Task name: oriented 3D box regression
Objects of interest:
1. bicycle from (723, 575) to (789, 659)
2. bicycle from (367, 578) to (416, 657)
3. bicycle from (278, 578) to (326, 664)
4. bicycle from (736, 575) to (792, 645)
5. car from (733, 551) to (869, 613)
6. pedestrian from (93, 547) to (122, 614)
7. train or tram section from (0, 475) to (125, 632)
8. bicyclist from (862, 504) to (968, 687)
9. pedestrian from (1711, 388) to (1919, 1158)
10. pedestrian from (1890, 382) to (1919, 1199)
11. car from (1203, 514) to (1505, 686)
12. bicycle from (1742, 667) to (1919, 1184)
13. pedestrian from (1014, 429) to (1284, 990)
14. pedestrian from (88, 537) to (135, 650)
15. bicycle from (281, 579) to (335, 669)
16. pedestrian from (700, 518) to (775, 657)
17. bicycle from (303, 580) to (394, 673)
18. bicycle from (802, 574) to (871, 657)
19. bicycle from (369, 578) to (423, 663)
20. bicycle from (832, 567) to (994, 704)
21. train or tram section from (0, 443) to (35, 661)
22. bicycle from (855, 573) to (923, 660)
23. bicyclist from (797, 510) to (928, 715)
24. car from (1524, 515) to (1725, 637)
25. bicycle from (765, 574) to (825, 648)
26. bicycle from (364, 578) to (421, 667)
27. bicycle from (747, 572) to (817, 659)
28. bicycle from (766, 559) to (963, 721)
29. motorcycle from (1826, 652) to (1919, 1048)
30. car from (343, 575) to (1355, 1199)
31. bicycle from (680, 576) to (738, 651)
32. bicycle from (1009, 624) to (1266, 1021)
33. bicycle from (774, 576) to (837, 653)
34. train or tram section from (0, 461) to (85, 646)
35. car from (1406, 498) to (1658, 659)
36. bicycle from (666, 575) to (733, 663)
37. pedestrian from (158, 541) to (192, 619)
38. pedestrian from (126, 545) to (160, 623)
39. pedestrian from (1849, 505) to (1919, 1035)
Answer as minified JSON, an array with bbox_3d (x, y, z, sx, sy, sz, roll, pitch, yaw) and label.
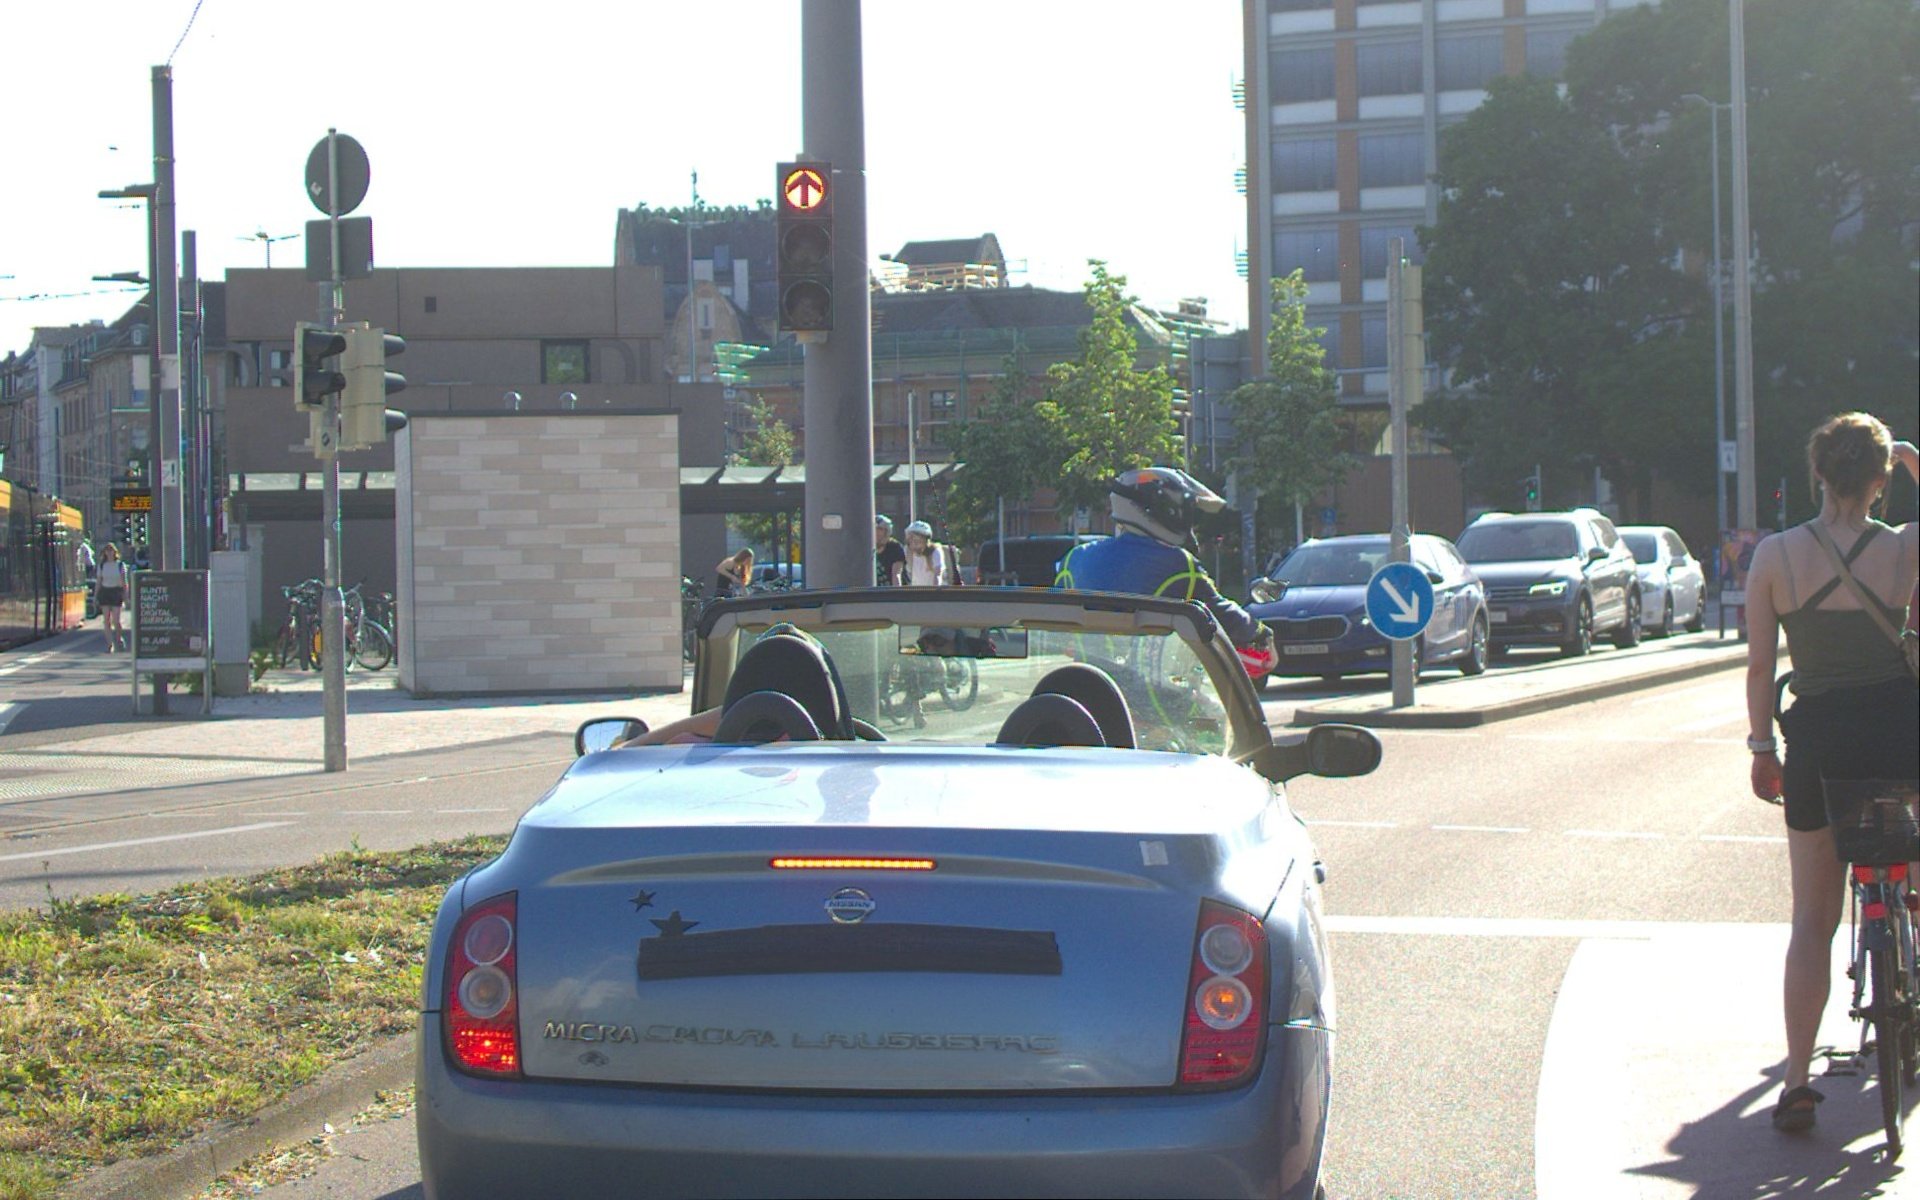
[{"bbox_3d":[-2.807,0.224,47.195,0.606,1.111,1.897,1,1,-12],"label":"bicycle"},{"bbox_3d":[-8.330,0.244,50.338,0.606,1.111,1.897,1,1,-12],"label":"bicycle"},{"bbox_3d":[-8.799,0.275,45.994,0.606,1.111,1.897,1,1,-11],"label":"bicycle"},{"bbox_3d":[-3.246,0.157,56.748,0.606,1.111,1.897,1,1,-12],"label":"bicycle"},{"bbox_3d":[-4.121,-0.457,88.687,1.640,1.555,3.599,-2,1,-39],"label":"car"},{"bbox_3d":[-22.295,-0.515,89.925,0.604,1.743,0.832,-1,1,-8],"label":"pedestrian"},{"bbox_3d":[-22.576,-1.141,84.595,3.039,3.584,12.055,1,1,-9],"label":"train or tram section"},{"bbox_3d":[-0.409,-0.047,31.486,0.709,1.651,0.742,-1,1,22],"label":"bicyclist"},{"bbox_3d":[2.286,0.414,8.783,0.659,1.862,0.872,1,0,15],"label":"pedestrian"},{"bbox_3d":[2.488,0.455,7.396,0.806,1.862,0.956,1,0,8],"label":"pedestrian"},{"bbox_3d":[3.914,-0.014,33.632,1.739,1.568,3.919,1,1,25],"label":"car"},{"bbox_3d":[2.367,0.778,8.975,0.564,1.147,1.948,1,1,14],"label":"bicycle"},{"bbox_3d":[0.673,0.360,11.963,0.833,1.862,0.920,1,0,8],"label":"pedestrian"},{"bbox_3d":[-13.294,-0.110,53.865,0.637,1.743,0.572,-1,1,-19],"label":"pedestrian"},{"bbox_3d":[-8.365,0.299,44.069,0.606,1.111,1.897,1,1,-12],"label":"bicycle"},{"bbox_3d":[-3.036,-0.176,46.775,0.900,1.862,0.687,1,0,-12],"label":"pedestrian"},{"bbox_3d":[-7.545,0.317,42.464,0.607,1.111,1.896,1,1,5],"label":"bicycle"},{"bbox_3d":[-1.721,0.203,47.582,0.606,1.111,1.897,1,1,-12],"label":"bicycle"},{"bbox_3d":[-7.629,0.266,46.463,0.606,1.111,1.897,1,1,-12],"label":"bicycle"},{"bbox_3d":[-0.408,0.309,31.464,0.675,1.176,2.181,-1,1,22],"label":"bicycle"},{"bbox_3d":[-18.166,-0.853,60.679,2.880,3.584,12.203,1,1,-12],"label":"train or tram section"},{"bbox_3d":[-0.947,0.207,45.565,0.606,1.111,1.897,1,1,-10],"label":"bicycle"},{"bbox_3d":[-0.813,0.098,28.780,0.709,1.651,0.900,-3,0,22],"label":"bicyclist"},{"bbox_3d":[9.001,-0.347,46.328,1.697,1.555,3.974,-1,1,25],"label":"car"},{"bbox_3d":[-2.561,0.161,53.242,0.606,1.111,1.897,1,1,-12],"label":"bicycle"},{"bbox_3d":[-7.340,0.277,44.399,0.606,1.111,1.897,1,1,-12],"label":"bicycle"},{"bbox_3d":[-2.357,0.191,45.263,0.606,1.111,1.897,1,1,-12],"label":"bicycle"},{"bbox_3d":[-0.773,0.312,28.851,0.675,1.246,2.454,-3,0,22],"label":"bicycle"},{"bbox_3d":[3.172,0.745,11.078,0.614,1.094,2.358,1,1,17],"label":"motorcycle"},{"bbox_3d":[0.032,0.677,7.691,1.660,1.436,4.153,1,1,6],"label":"car"},{"bbox_3d":[-3.874,0.199,53.035,0.606,1.111,1.897,1,1,-12],"label":"bicycle"},{"bbox_3d":[0.657,0.698,11.900,0.608,1.187,2.414,1,1,9],"label":"bicycle"},{"bbox_3d":[-2.313,0.207,51.270,0.606,1.111,1.897,1,1,-12],"label":"bicycle"},{"bbox_3d":[-20.508,-0.993,72.669,3.011,3.584,12.203,1,1,-10],"label":"train or tram section"},{"bbox_3d":[6.674,-0.273,39.722,1.763,1.700,4.525,-2,0,24],"label":"car"},{"bbox_3d":[-3.430,0.236,45.122,0.606,1.111,1.897,1,1,-12],"label":"bicycle"},{"bbox_3d":[-17.887,-0.461,78.295,0.637,1.743,0.736,-1,1,-19],"label":"pedestrian"},{"bbox_3d":[-18.483,-0.365,77.753,0.637,1.743,0.736,-1,1,-19],"label":"pedestrian"},{"bbox_3d":[3.132,0.511,10.813,0.588,1.593,1.024,1,0,17],"label":"pedestrian"}]
